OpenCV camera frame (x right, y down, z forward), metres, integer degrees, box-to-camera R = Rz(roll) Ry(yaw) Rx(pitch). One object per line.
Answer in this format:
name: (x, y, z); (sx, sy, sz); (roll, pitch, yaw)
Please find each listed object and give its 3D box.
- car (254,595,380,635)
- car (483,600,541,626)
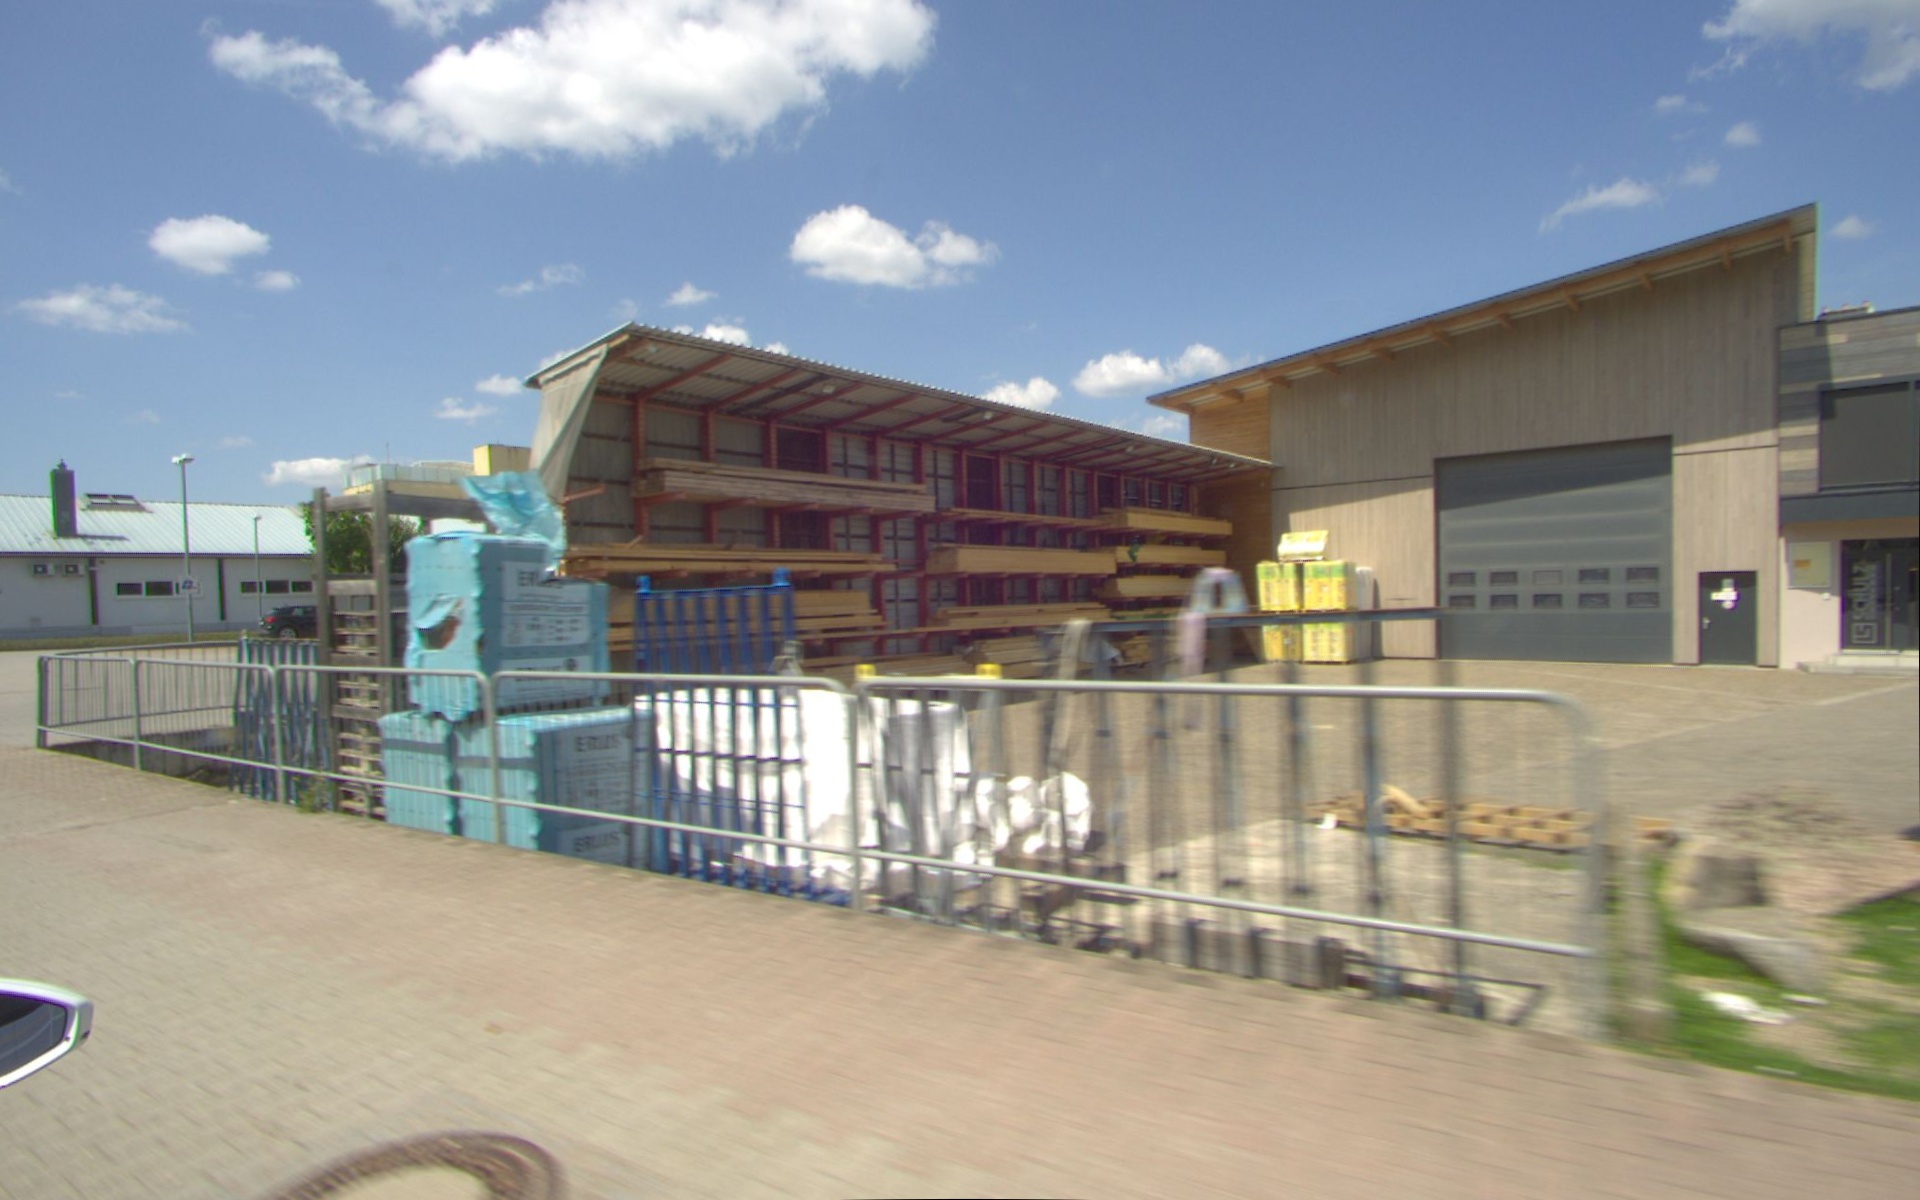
car: (-26.116, 0.566, 40.747); (3.961, 1.514, 1.980); (-1, 1, -45)
car: (-25.721, 0.754, 57.400); (3.701, 1.444, 1.579); (-1, 0, 40)
